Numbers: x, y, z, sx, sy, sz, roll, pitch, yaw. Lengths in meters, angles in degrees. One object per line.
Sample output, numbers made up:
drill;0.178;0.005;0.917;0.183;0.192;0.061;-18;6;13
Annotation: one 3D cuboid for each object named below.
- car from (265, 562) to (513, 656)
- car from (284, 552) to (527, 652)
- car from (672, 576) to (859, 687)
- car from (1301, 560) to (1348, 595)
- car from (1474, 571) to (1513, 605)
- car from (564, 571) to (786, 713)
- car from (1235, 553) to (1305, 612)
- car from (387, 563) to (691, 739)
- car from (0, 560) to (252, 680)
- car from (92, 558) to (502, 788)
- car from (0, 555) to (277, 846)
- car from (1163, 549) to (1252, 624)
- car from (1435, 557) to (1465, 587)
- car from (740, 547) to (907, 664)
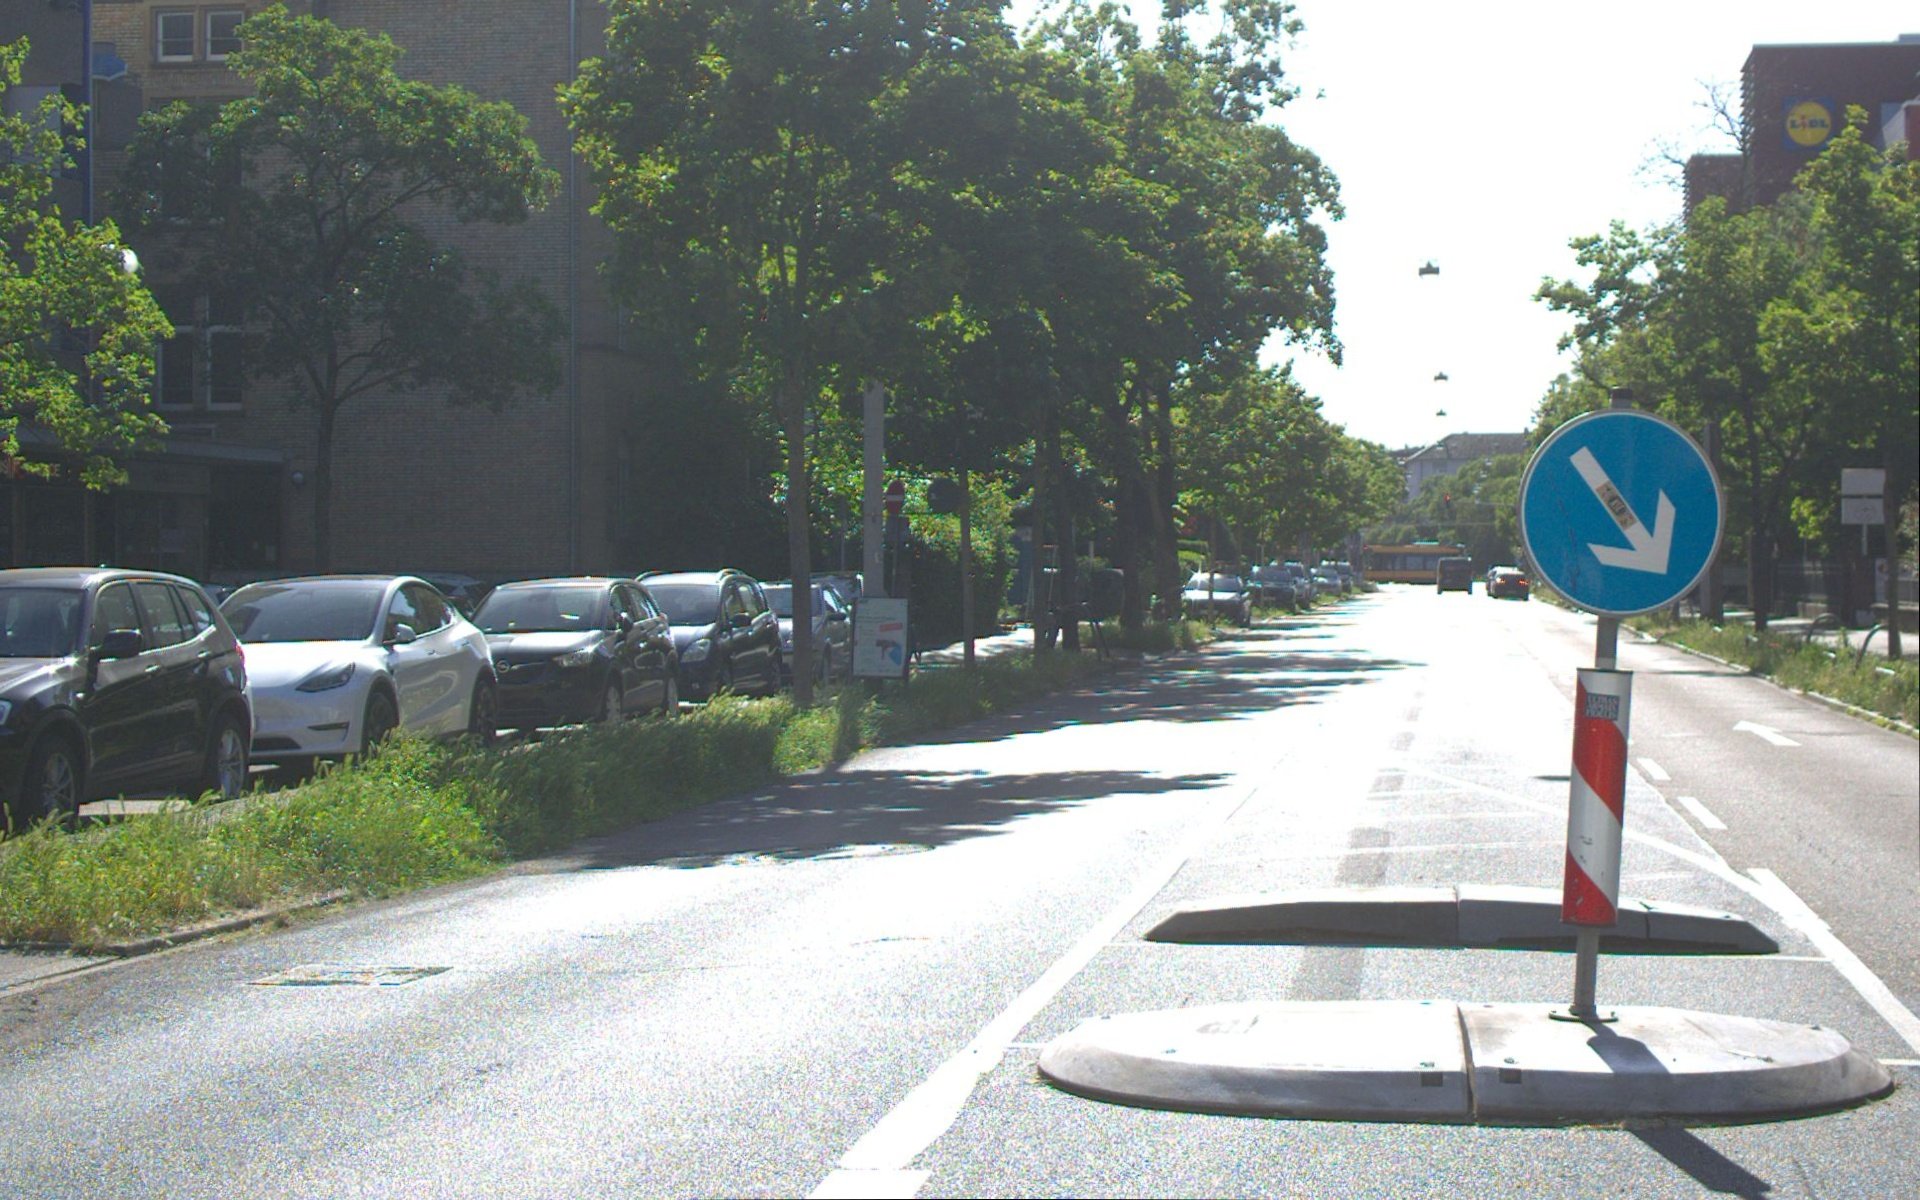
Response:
car;-9.951;0.148;60.074;3.987;1.624;1.687;0;1;5
car;-9.993;0.024;62.142;3.987;1.763;1.886;0;1;5
car;-2.539;0.391;45.804;1.755;1.393;3.999;0;1;8
car;18.127;-1.134;170.736;1.994;1.690;3.998;0;1;10
car;27.503;-0.616;177.295;1.952;1.702;3.999;0;1;9
car;-3.275;0.453;40.230;1.752;1.548;3.999;-1;1;8
car;10.981;-0.632;121.583;2.062;2.007;4.627;-1;1;10
car;-4.103;0.461;34.159;1.864;1.582;3.998;-1;1;10
car;-12.046;0.265;47.842;3.987;1.624;1.687;0;1;5
car;-5.281;0.526;28.043;1.889;1.656;4.529;-2;0;8
car;-5.972;0.548;21.526;1.869;1.622;4.503;-1;1;9
car;6.852;-0.399;94.774;1.994;2.007;4.203;-1;1;10
car;29.507;-1.708;207.019;1.759;1.777;3.999;0;1;9
car;-1.958;0.055;50.475;1.763;1.640;3.999;0;1;8
